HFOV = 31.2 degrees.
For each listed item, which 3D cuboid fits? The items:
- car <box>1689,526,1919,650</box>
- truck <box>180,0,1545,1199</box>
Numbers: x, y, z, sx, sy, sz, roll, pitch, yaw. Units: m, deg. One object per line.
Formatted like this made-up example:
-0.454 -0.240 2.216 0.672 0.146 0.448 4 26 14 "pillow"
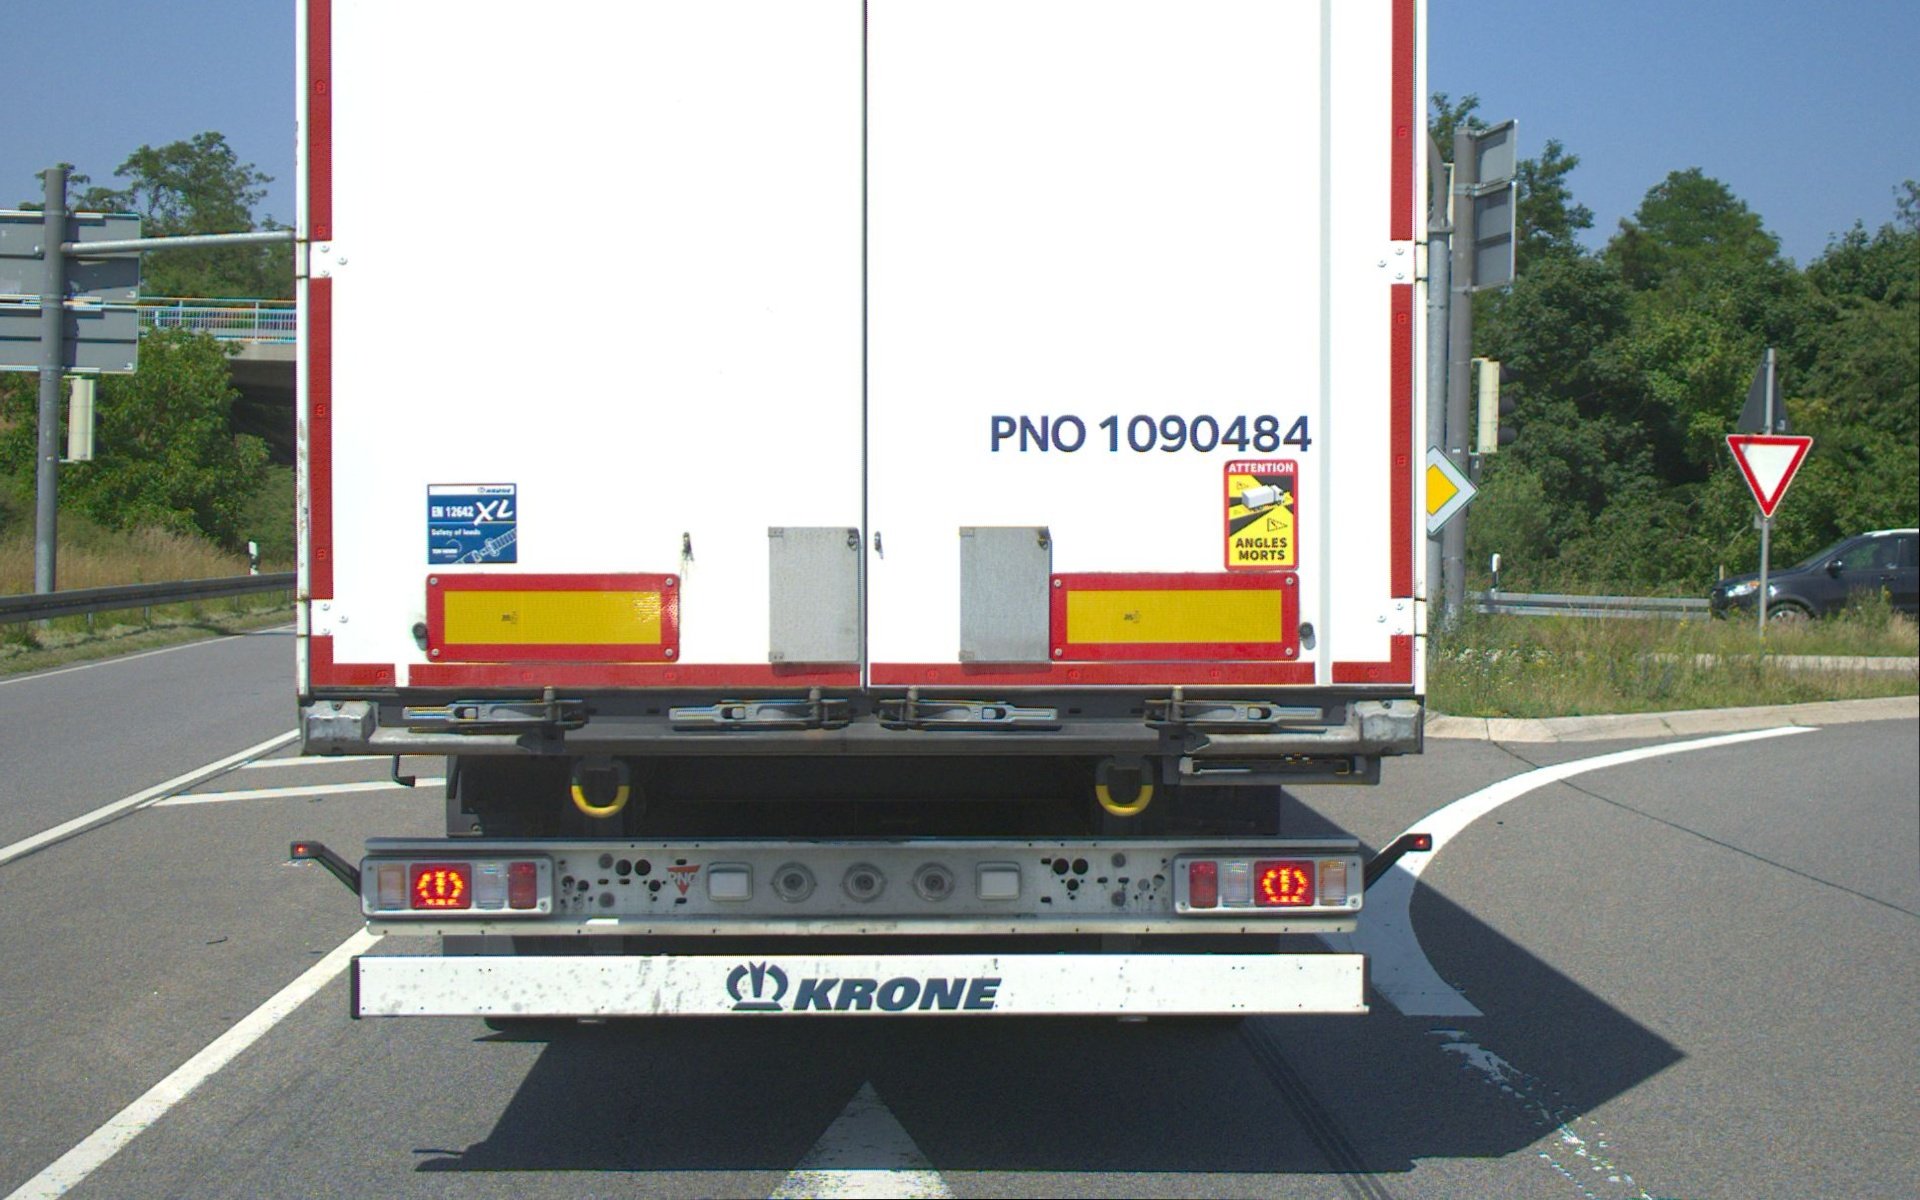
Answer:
12.065 -0.162 46.795 3.986 1.634 1.841 0 0 5 "car"
-0.307 -0.687 12.505 2.987 3.928 9.876 0 1 -1 "truck"
